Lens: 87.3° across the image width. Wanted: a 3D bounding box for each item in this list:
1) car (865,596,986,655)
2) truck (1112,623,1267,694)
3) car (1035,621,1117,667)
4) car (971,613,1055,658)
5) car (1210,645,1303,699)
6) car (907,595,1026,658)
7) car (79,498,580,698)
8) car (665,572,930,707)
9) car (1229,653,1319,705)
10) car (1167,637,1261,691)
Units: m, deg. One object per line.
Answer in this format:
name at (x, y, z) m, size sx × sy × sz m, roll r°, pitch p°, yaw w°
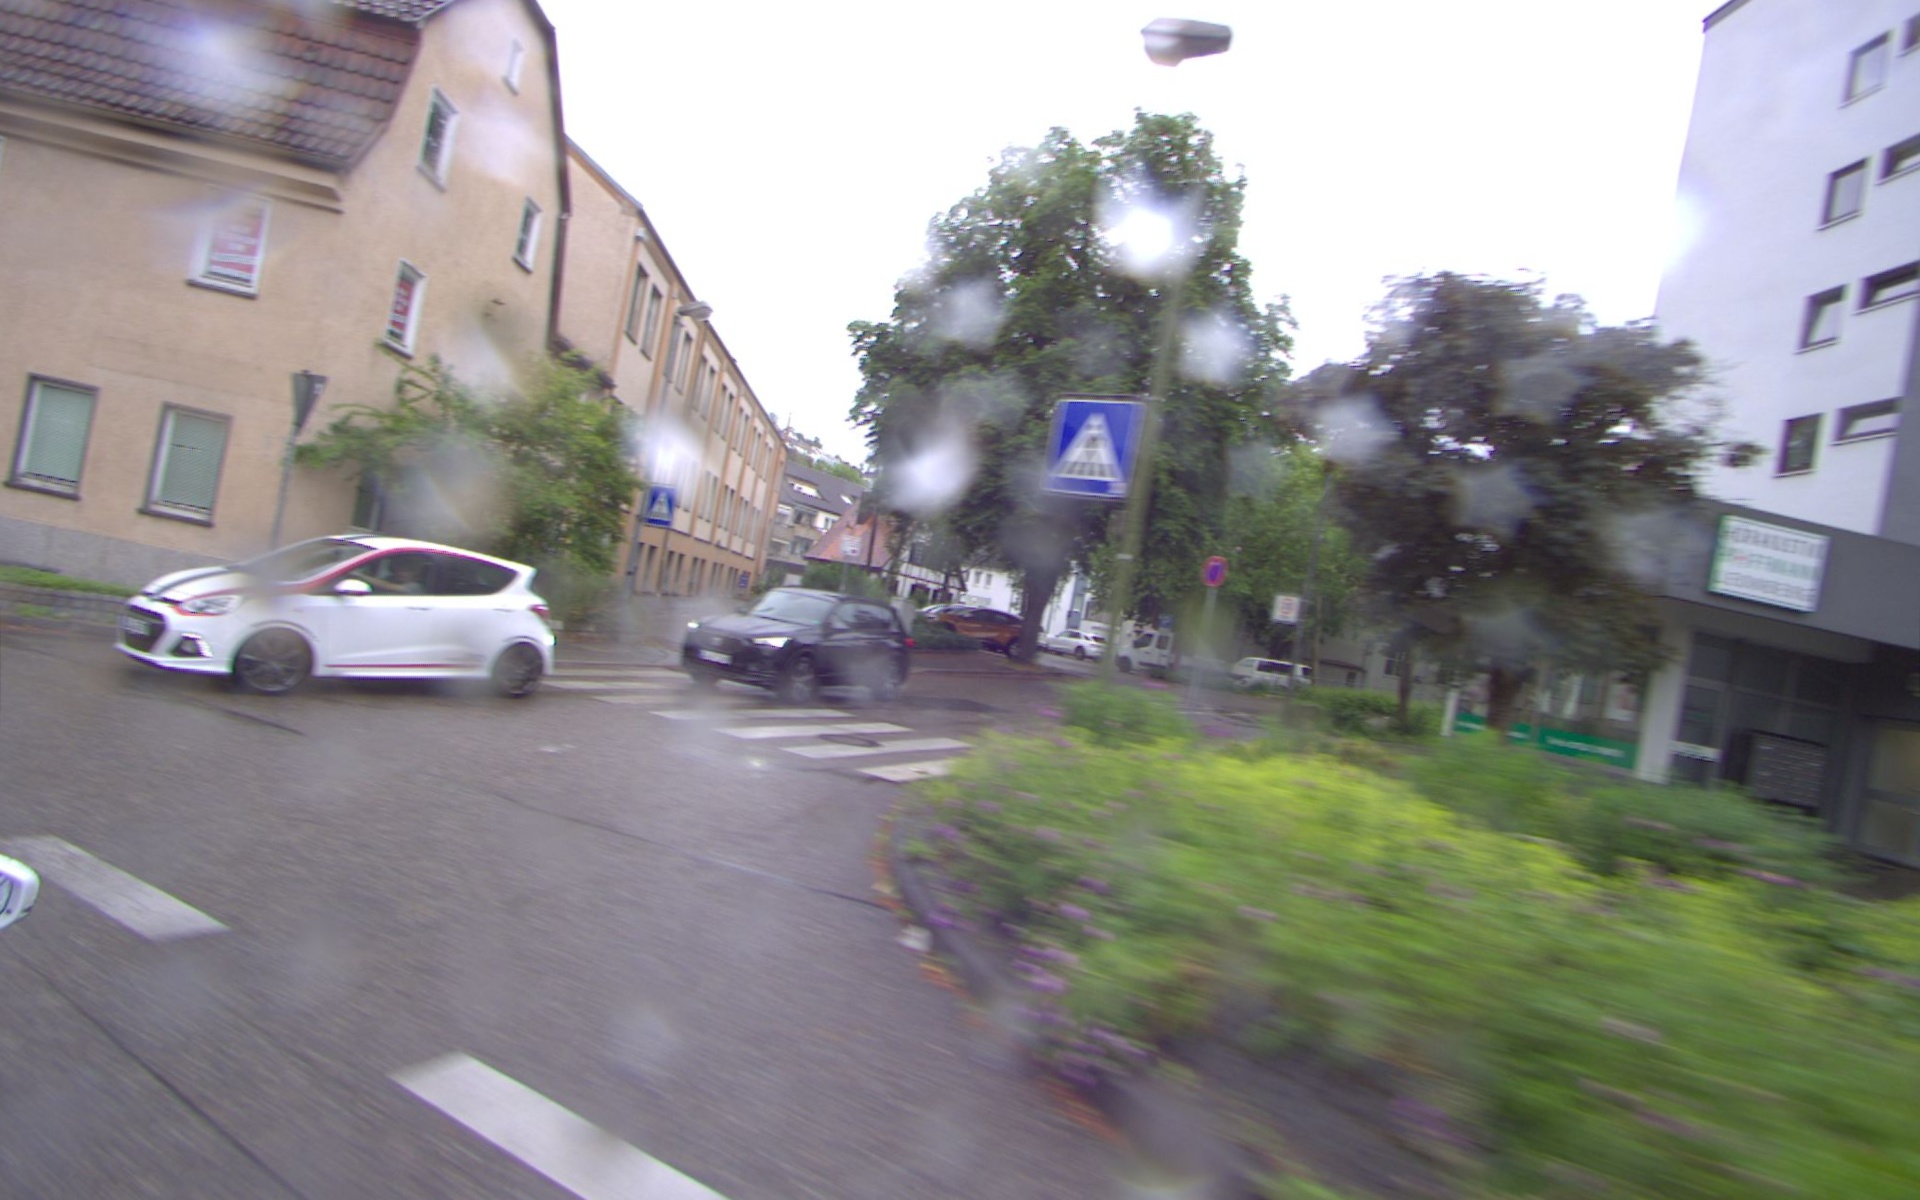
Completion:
car at (-1.371, 1.014, 40.138) m, size 4.359 × 1.591 × 1.711 m, roll 10°, pitch 0°, yaw -20°
truck at (10.542, 2.673, 46.799) m, size 6.599 × 2.303 × 2.295 m, roll 8°, pitch 0°, yaw 44°
car at (6.748, 2.562, 58.714) m, size 4.243 × 1.896 × 1.802 m, roll 8°, pitch -3°, yaw 42°
car at (2.917, 1.930, 55.377) m, size 3.983 × 1.685 × 1.808 m, roll 9°, pitch -3°, yaw 27°
car at (14.791, 3.577, 50.225) m, size 3.780 × 1.855 × 1.852 m, roll 10°, pitch -2°, yaw 42°
car at (0.189, 0.916, 35.543) m, size 3.838 × 1.591 × 1.717 m, roll 10°, pitch 0°, yaw -6°
car at (-5.966, 0.078, 9.975) m, size 1.684 × 1.471 × 3.756 m, roll 9°, pitch 1°, yaw 32°
car at (-2.327, 0.683, 15.670) m, size 1.688 × 1.591 × 4.417 m, roll 9°, pitch -1°, yaw 26°
car at (16.146, 4.069, 51.876) m, size 3.780 × 1.855 × 1.852 m, roll 10°, pitch -2°, yaw 42°
car at (12.303, 3.090, 48.812) m, size 3.780 × 1.855 × 1.852 m, roll 10°, pitch -2°, yaw 42°
